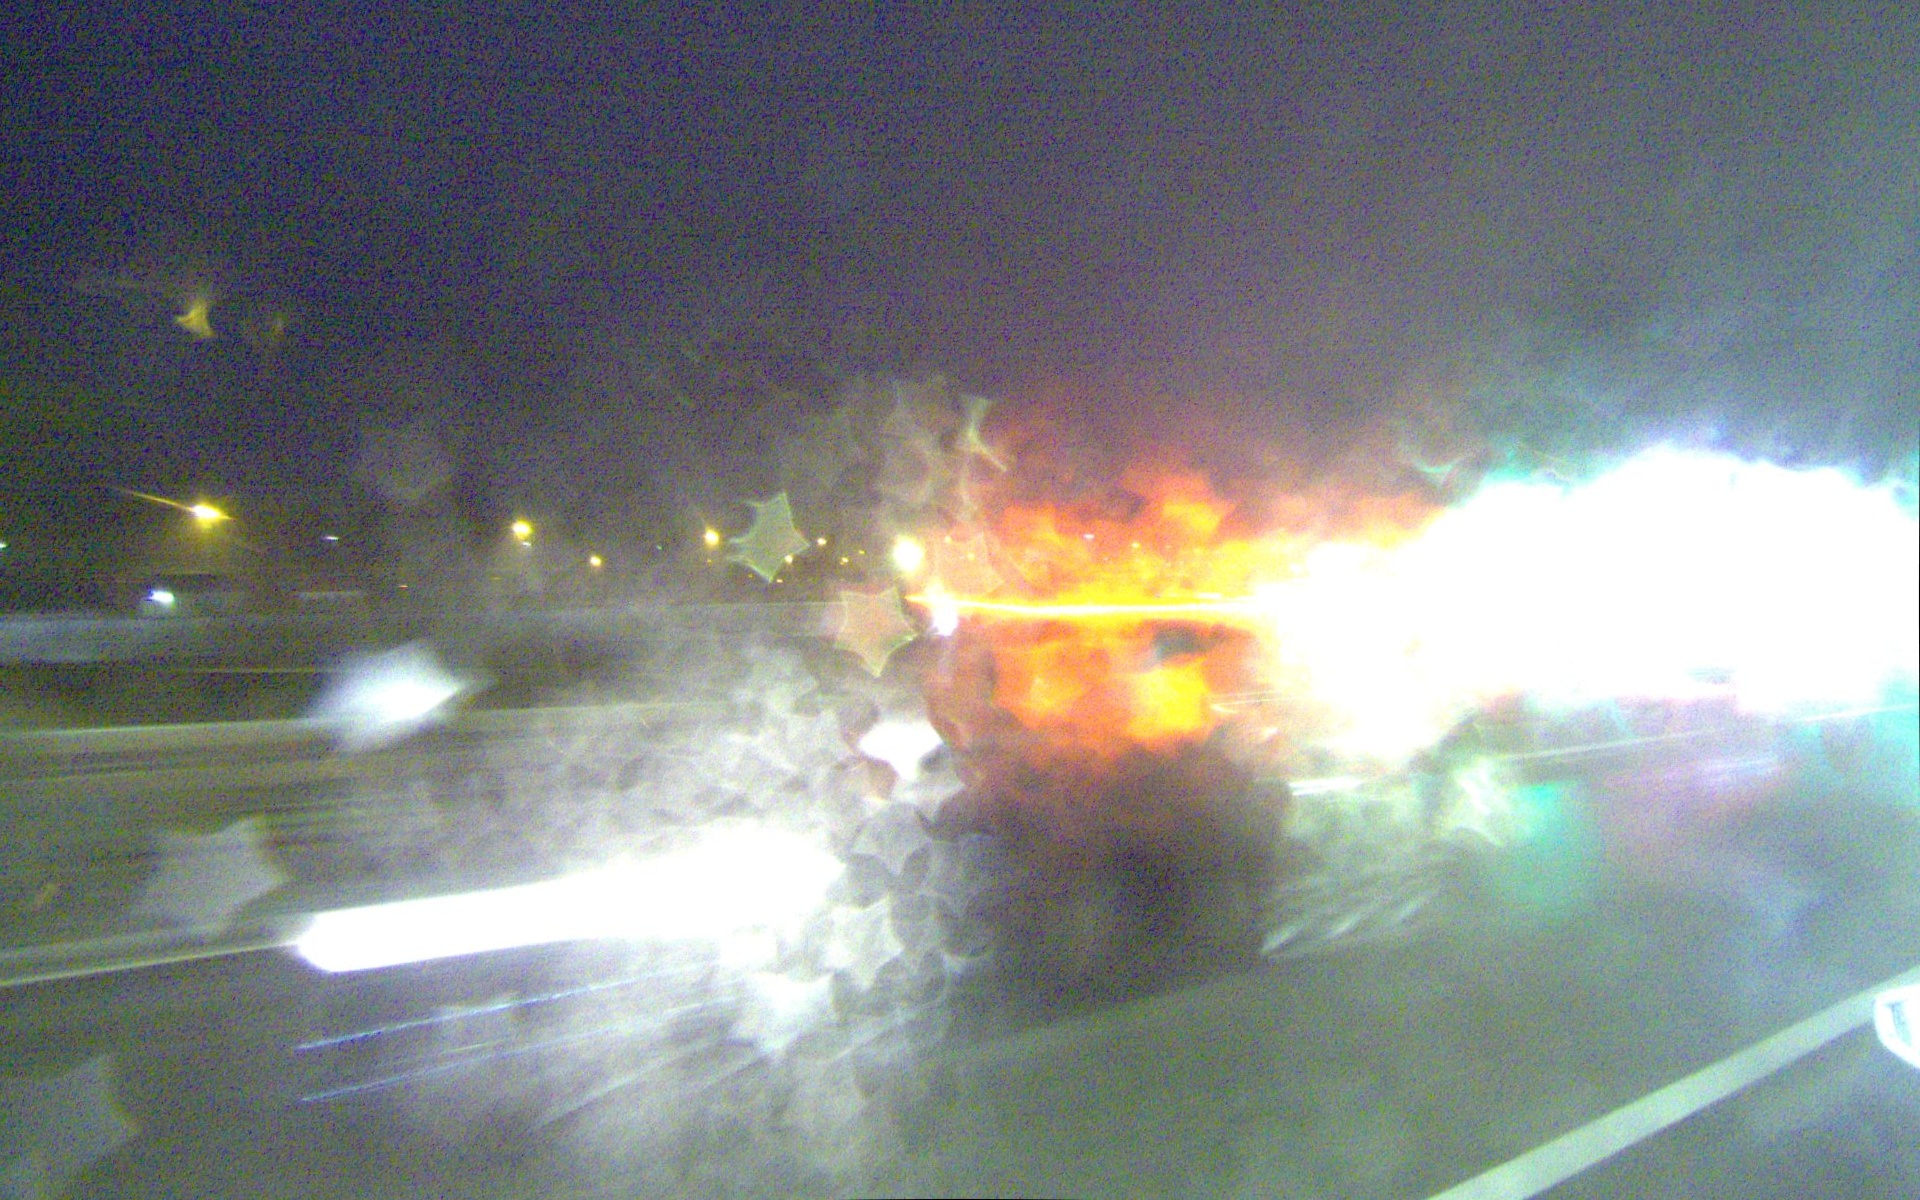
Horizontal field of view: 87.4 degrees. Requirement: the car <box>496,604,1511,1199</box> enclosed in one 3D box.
[{"bbox_3d":[0.354,0.767,4.245,3.993,1.422,1.813,1,1,-34],"label":"car"}]
